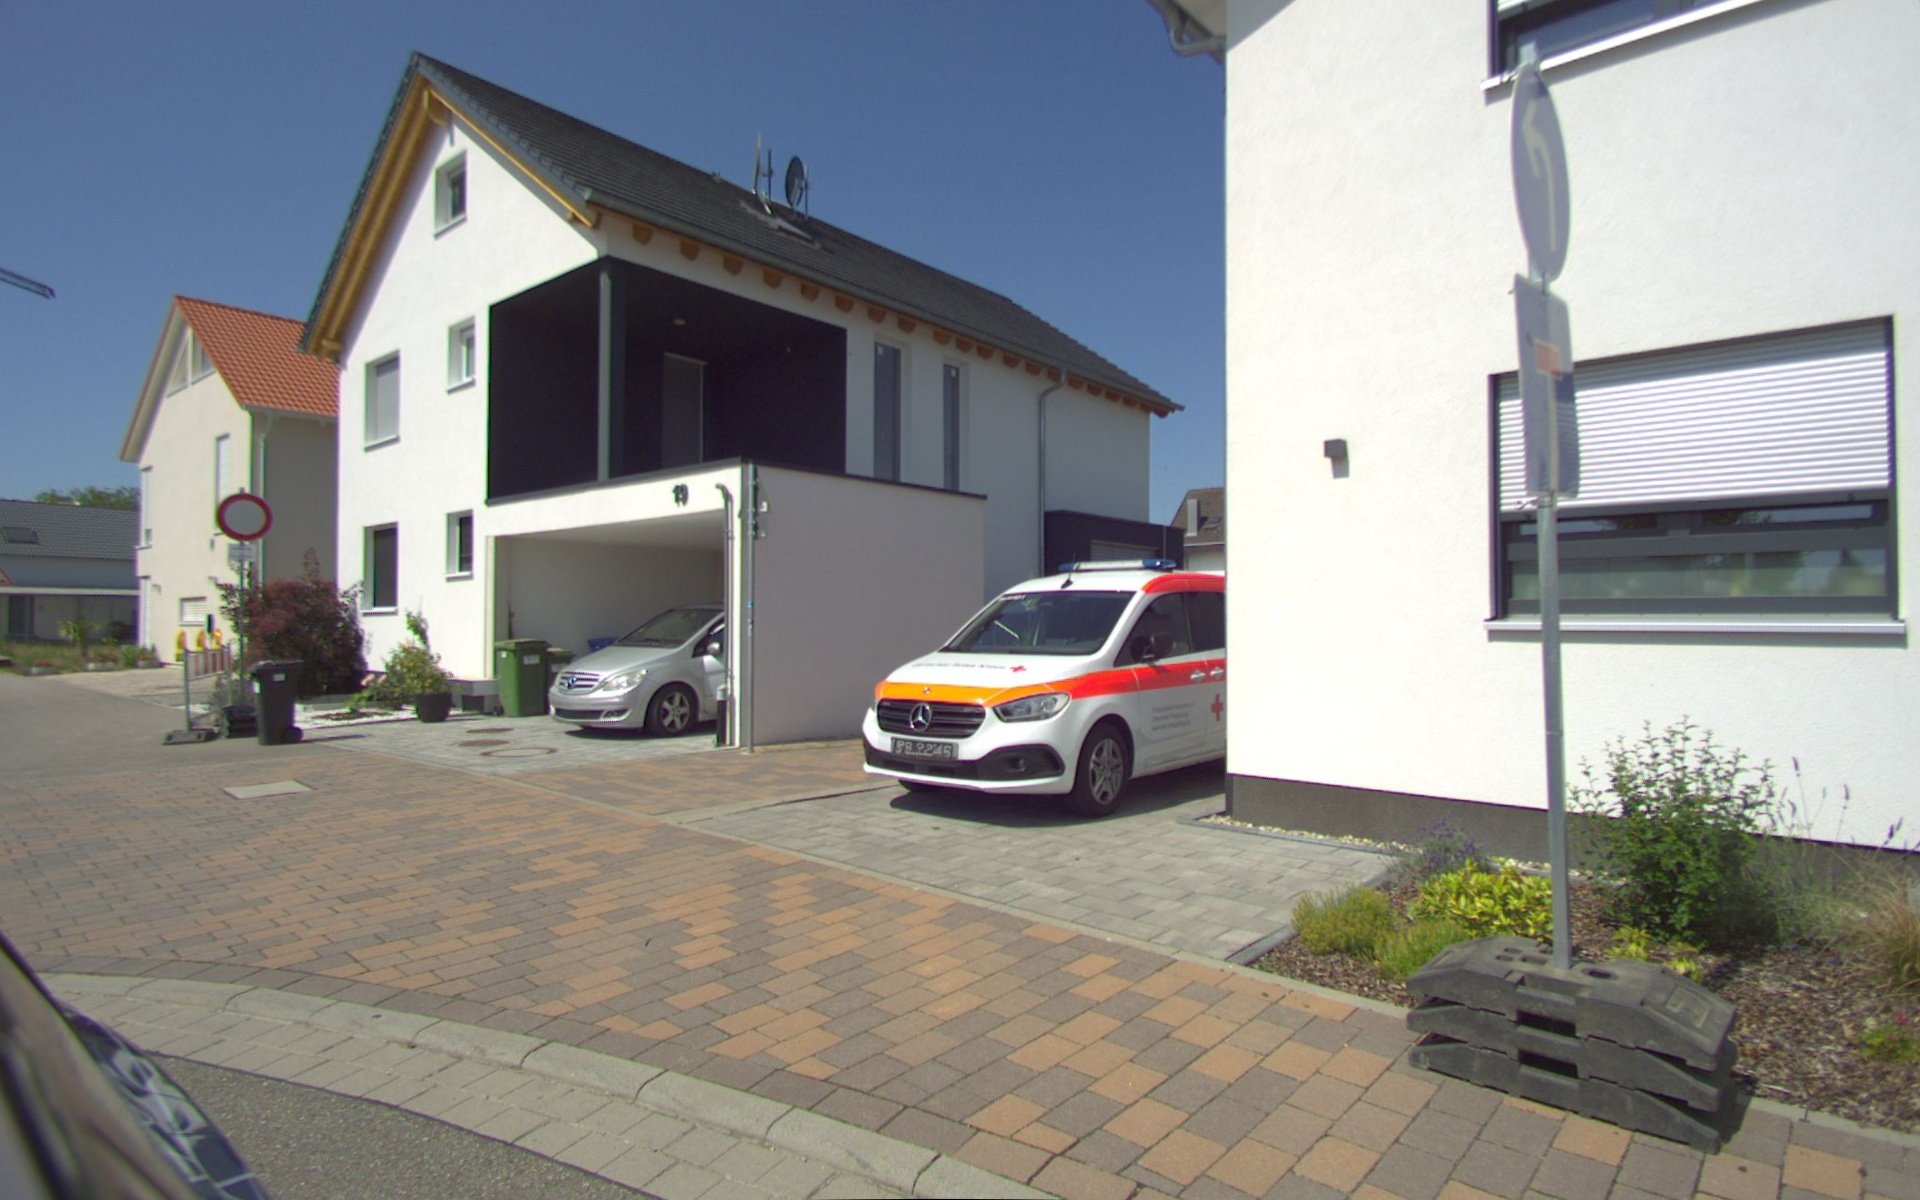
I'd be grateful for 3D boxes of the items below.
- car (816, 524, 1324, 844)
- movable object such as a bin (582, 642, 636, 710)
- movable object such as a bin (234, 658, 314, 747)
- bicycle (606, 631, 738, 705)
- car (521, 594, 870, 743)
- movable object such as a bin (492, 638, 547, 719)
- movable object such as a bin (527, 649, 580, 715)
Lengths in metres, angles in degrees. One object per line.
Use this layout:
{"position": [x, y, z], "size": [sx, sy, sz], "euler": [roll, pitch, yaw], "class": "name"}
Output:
{"position": [1.211, 0.567, 8.416], "size": [1.937, 1.889, 4.688], "euler": [-1, -2, 40], "class": "car"}
{"position": [-5.374, 1.151, 15.493], "size": [0.676, 0.994, 0.493], "euler": [0, -1, 38], "class": "movable object such as a bin"}
{"position": [-7.745, 1.141, 11.433], "size": [0.564, 0.944, 0.610], "euler": [-2, -2, 38], "class": "movable object such as a bin"}
{"position": [-4.773, 1.100, 16.934], "size": [0.777, 1.135, 2.108], "euler": [0, -1, 34], "class": "bicycle"}
{"position": [-3.180, 0.800, 12.906], "size": [1.742, 1.574, 4.113], "euler": [-1, -3, 37], "class": "car"}
{"position": [-6.206, 1.100, 14.254], "size": [0.601, 1.100, 0.493], "euler": [-3, -3, 38], "class": "movable object such as a bin"}
{"position": [-5.909, 1.182, 14.698], "size": [0.560, 0.912, 0.493], "euler": [0, -1, 38], "class": "movable object such as a bin"}
